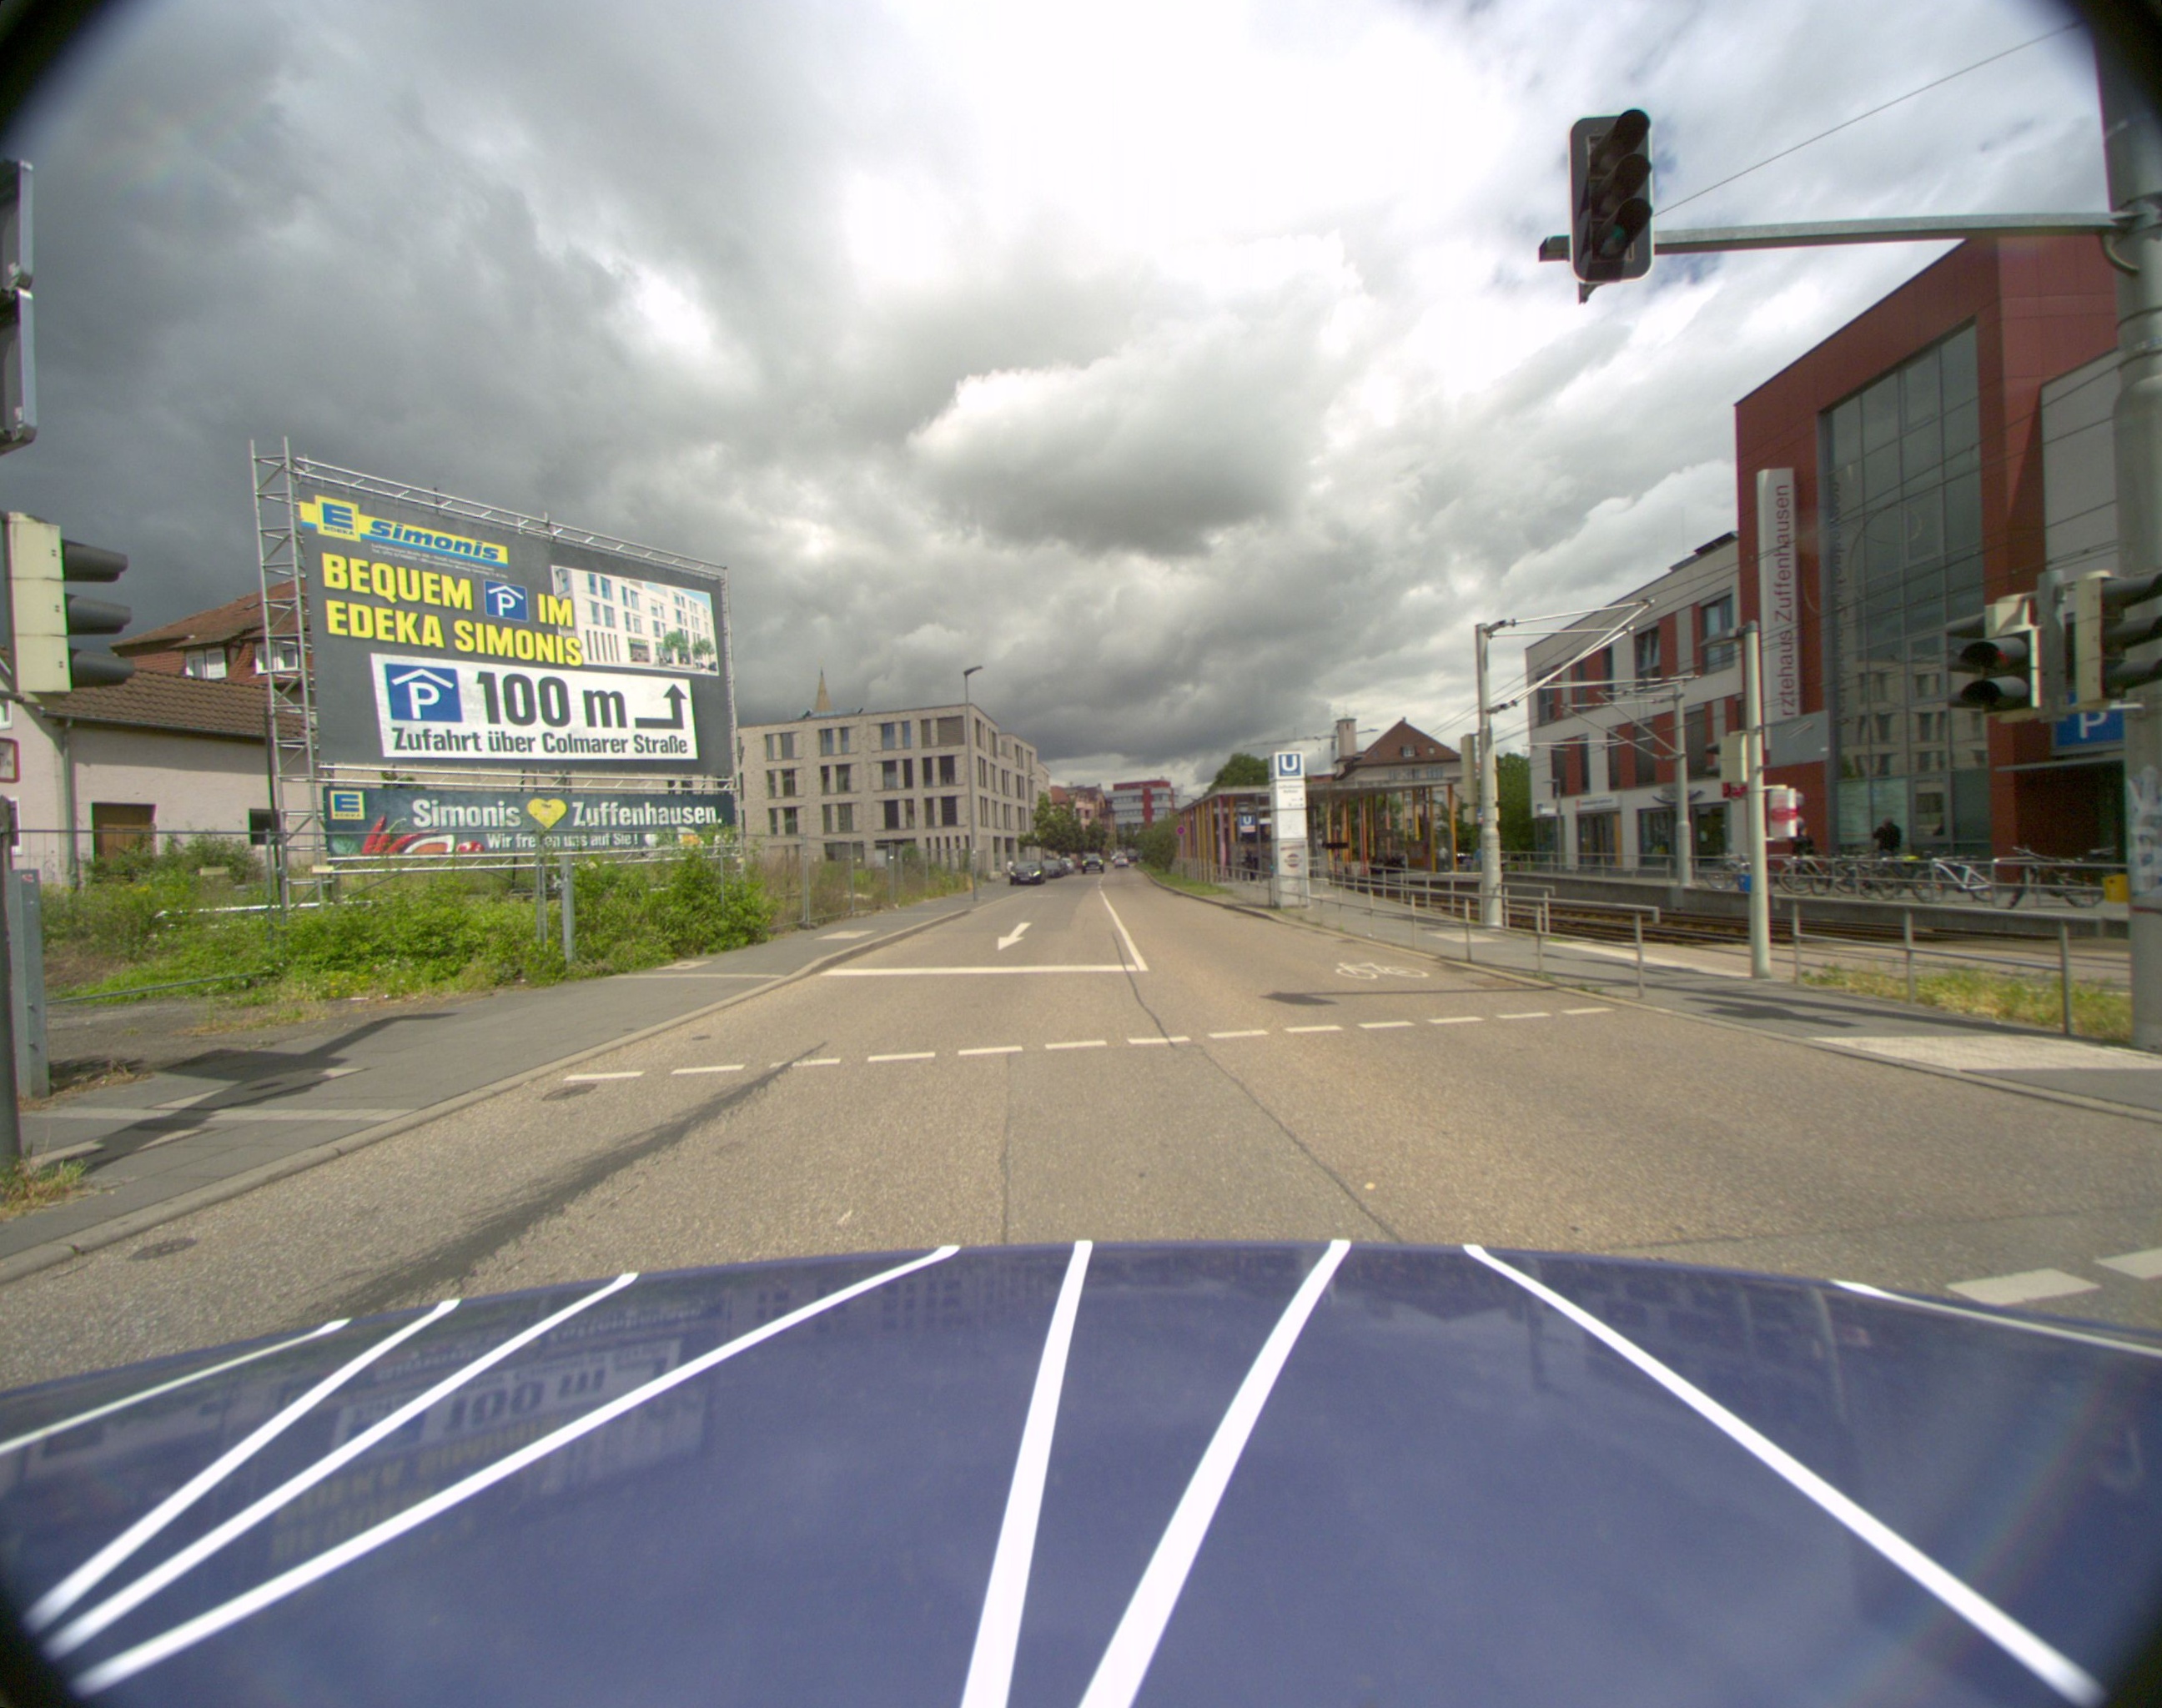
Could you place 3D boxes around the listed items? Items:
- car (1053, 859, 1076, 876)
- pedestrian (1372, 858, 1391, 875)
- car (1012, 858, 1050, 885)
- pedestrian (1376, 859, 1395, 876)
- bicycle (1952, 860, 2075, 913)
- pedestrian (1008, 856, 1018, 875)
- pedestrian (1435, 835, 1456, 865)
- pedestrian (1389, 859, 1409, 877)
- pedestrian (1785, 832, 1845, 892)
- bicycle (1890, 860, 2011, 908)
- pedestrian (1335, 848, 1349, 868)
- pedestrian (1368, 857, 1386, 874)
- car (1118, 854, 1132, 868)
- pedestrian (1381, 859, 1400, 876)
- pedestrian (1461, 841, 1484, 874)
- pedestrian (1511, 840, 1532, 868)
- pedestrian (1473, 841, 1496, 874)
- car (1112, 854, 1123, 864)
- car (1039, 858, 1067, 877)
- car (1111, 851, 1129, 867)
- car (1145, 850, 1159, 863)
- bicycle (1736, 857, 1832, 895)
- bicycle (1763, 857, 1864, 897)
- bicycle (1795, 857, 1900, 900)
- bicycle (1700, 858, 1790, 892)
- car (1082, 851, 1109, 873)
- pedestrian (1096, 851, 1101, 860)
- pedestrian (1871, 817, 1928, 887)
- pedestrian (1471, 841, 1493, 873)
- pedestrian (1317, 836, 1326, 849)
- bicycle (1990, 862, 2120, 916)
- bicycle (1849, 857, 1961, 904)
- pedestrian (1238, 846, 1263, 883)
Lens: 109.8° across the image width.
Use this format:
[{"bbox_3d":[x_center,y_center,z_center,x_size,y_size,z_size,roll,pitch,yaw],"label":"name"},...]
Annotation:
[{"bbox_3d":[-1.413,1.141,66.266,1.677,1.299,3.795,-1,1,5],"label":"car"},{"bbox_3d":[20.708,0.873,52.345,0.943,1.128,0.886,-1,0,4],"label":"pedestrian"},{"bbox_3d":[-2.889,0.970,44.496,1.677,1.415,3.795,-1,1,5],"label":"car"},{"bbox_3d":[20.582,0.890,51.357,0.943,1.128,0.886,-1,0,4],"label":"pedestrian"},{"bbox_3d":[18.153,0.632,14.808,1.739,0.952,0.428,-2,1,5],"label":"bicycle"},{"bbox_3d":[-5.529,0.902,61.397,0.673,1.503,0.783,-1,0,2],"label":"pedestrian"},{"bbox_3d":[23.745,-0.255,49.540,0.864,1.957,1.106,-1,1,4],"label":"pedestrian"},{"bbox_3d":[20.707,0.919,49.439,0.943,1.128,0.886,-1,0,4],"label":"pedestrian"},{"bbox_3d":[21.055,0.213,21.823,0.788,1.688,0.935,-1,1,-7],"label":"pedestrian"},{"bbox_3d":[18.117,0.615,15.850,1.861,0.930,0.454,-2,1,5],"label":"bicycle"},{"bbox_3d":[26.194,0.398,76.285,1.127,2.002,1.179,-1,0,7],"label":"pedestrian"},{"bbox_3d":[20.834,0.808,53.426,0.943,1.128,0.886,-1,0,4],"label":"pedestrian"},{"bbox_3d":[5.169,0.806,89.366,1.588,1.528,3.947,-5,1,3],"label":"car"},{"bbox_3d":[20.539,0.906,50.400,0.943,1.128,0.886,-1,0,4],"label":"pedestrian"},{"bbox_3d":[23.623,0.228,45.861,0.863,1.957,1.106,-1,1,7],"label":"pedestrian"},{"bbox_3d":[31.524,0.000,54.377,1.104,1.957,0.865,0,1,16],"label":"pedestrian"},{"bbox_3d":[24.305,0.218,45.782,0.863,1.957,1.106,-1,1,7],"label":"pedestrian"},{"bbox_3d":[5.823,0.715,121.191,1.718,1.541,3.793,-1,0,2],"label":"car"},{"bbox_3d":[-2.112,1.041,58.376,1.677,1.367,3.796,-1,0,5],"label":"car"},{"bbox_3d":[5.170,0.687,101.105,1.997,2.002,4.003,-1,0,9],"label":"car"},{"bbox_3d":[11.933,0.406,127.644,1.997,2.064,4.002,-1,1,9],"label":"car"},{"bbox_3d":[18.173,0.560,19.663,1.861,0.927,0.455,-2,1,10],"label":"bicycle"},{"bbox_3d":[18.124,0.574,18.835,1.861,0.917,0.455,-2,1,10],"label":"bicycle"},{"bbox_3d":[18.080,0.578,17.935,1.861,0.934,0.455,-2,1,7],"label":"bicycle"},{"bbox_3d":[18.147,0.577,20.793,1.861,0.876,0.455,-2,1,11],"label":"bicycle"},{"bbox_3d":[1.386,0.717,69.680,2.003,1.876,5.152,-1,1,6],"label":"car"},{"bbox_3d":[2.975,0.283,129.242,0.673,1.503,0.783,-1,0,18],"label":"pedestrian"},{"bbox_3d":[22.636,-0.065,21.025,0.881,1.835,0.863,-4,2,-26],"label":"pedestrian"},{"bbox_3d":[24.913,0.198,47.206,0.863,1.957,1.106,-1,1,7],"label":"pedestrian"},{"bbox_3d":[35.538,-1.693,112.345,1.124,2.002,1.662,-1,0,17],"label":"pedestrian"},{"bbox_3d":[18.147,0.645,14.175,1.739,0.947,0.428,-2,1,5],"label":"bicycle"},{"bbox_3d":[18.181,0.586,16.780,1.861,0.957,0.454,-2,1,5],"label":"bicycle"},{"bbox_3d":[8.862,0.545,39.736,1.105,1.903,0.865,-1,1,4],"label":"pedestrian"}]
